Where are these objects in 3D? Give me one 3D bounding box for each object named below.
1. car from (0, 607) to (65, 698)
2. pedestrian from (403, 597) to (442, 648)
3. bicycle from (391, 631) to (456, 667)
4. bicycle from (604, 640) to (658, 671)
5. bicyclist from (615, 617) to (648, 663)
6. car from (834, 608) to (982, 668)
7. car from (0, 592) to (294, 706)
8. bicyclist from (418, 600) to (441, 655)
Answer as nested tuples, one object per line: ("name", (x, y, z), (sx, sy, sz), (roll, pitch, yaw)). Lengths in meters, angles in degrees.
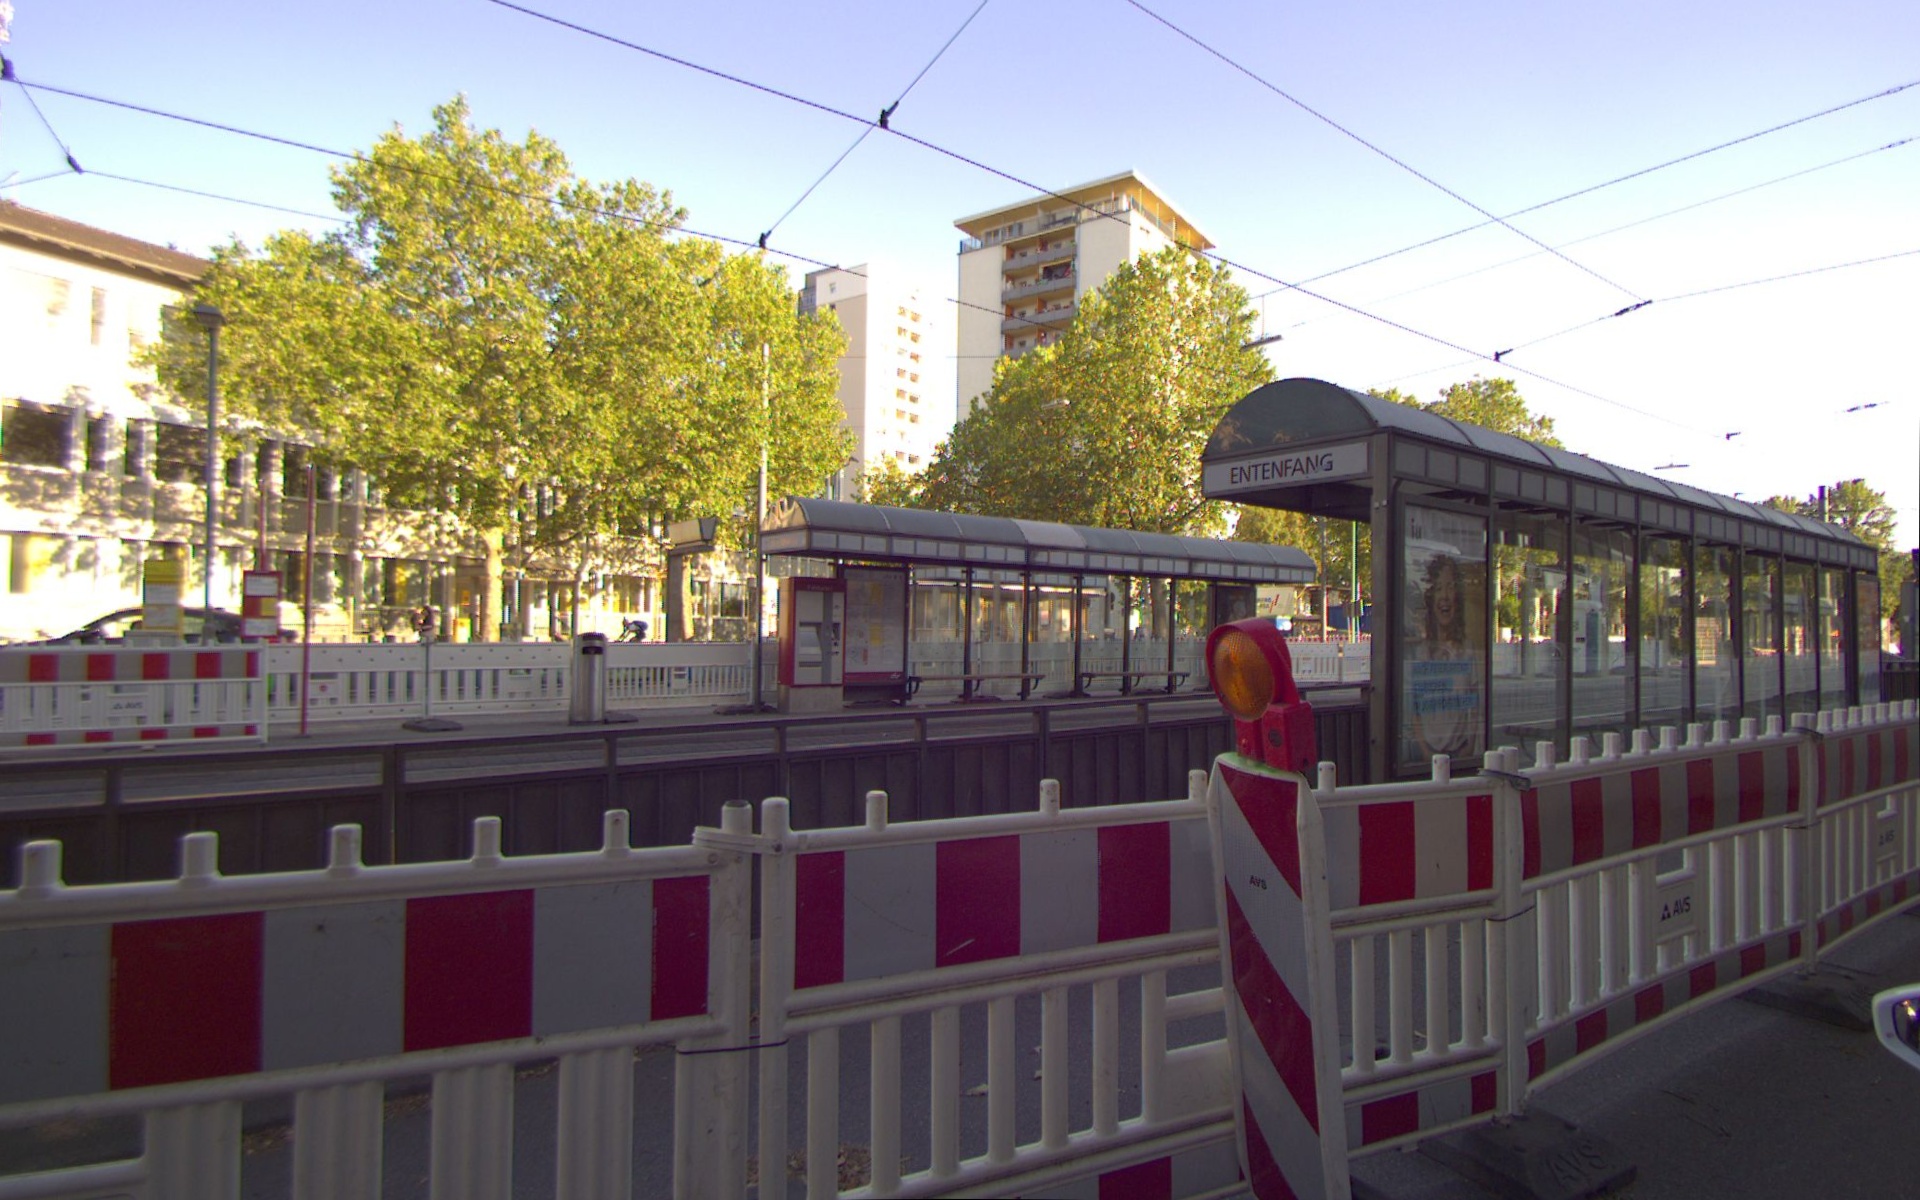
("car", (-19.974, 0.966, 18.853), (4.544, 1.689, 1.881), (2, 0, -37))
("pedestrian", (-18.833, 0.781, 35.200), (0.793, 1.751, 0.884), (0, -1, 29))
("bicycle", (-14.148, 1.287, 26.488), (1.451, 0.907, 0.459), (2, -1, -35))
("bicycle", (-9.739, 1.630, 29.754), (1.455, 0.907, 0.457), (2, -2, -42))
("bicyclist", (-9.722, 1.182, 29.766), (0.803, 1.314, 0.457), (2, -1, -42))
("car", (-1.367, 1.025, 27.236), (3.740, 1.532, 1.646), (2, -2, -38))
("car", (-13.792, 0.770, 16.610), (4.544, 1.689, 1.881), (2, 0, -37))
("bicyclist", (-14.038, 0.726, 26.569), (0.460, 1.414, 0.459), (1, -1, -35))
